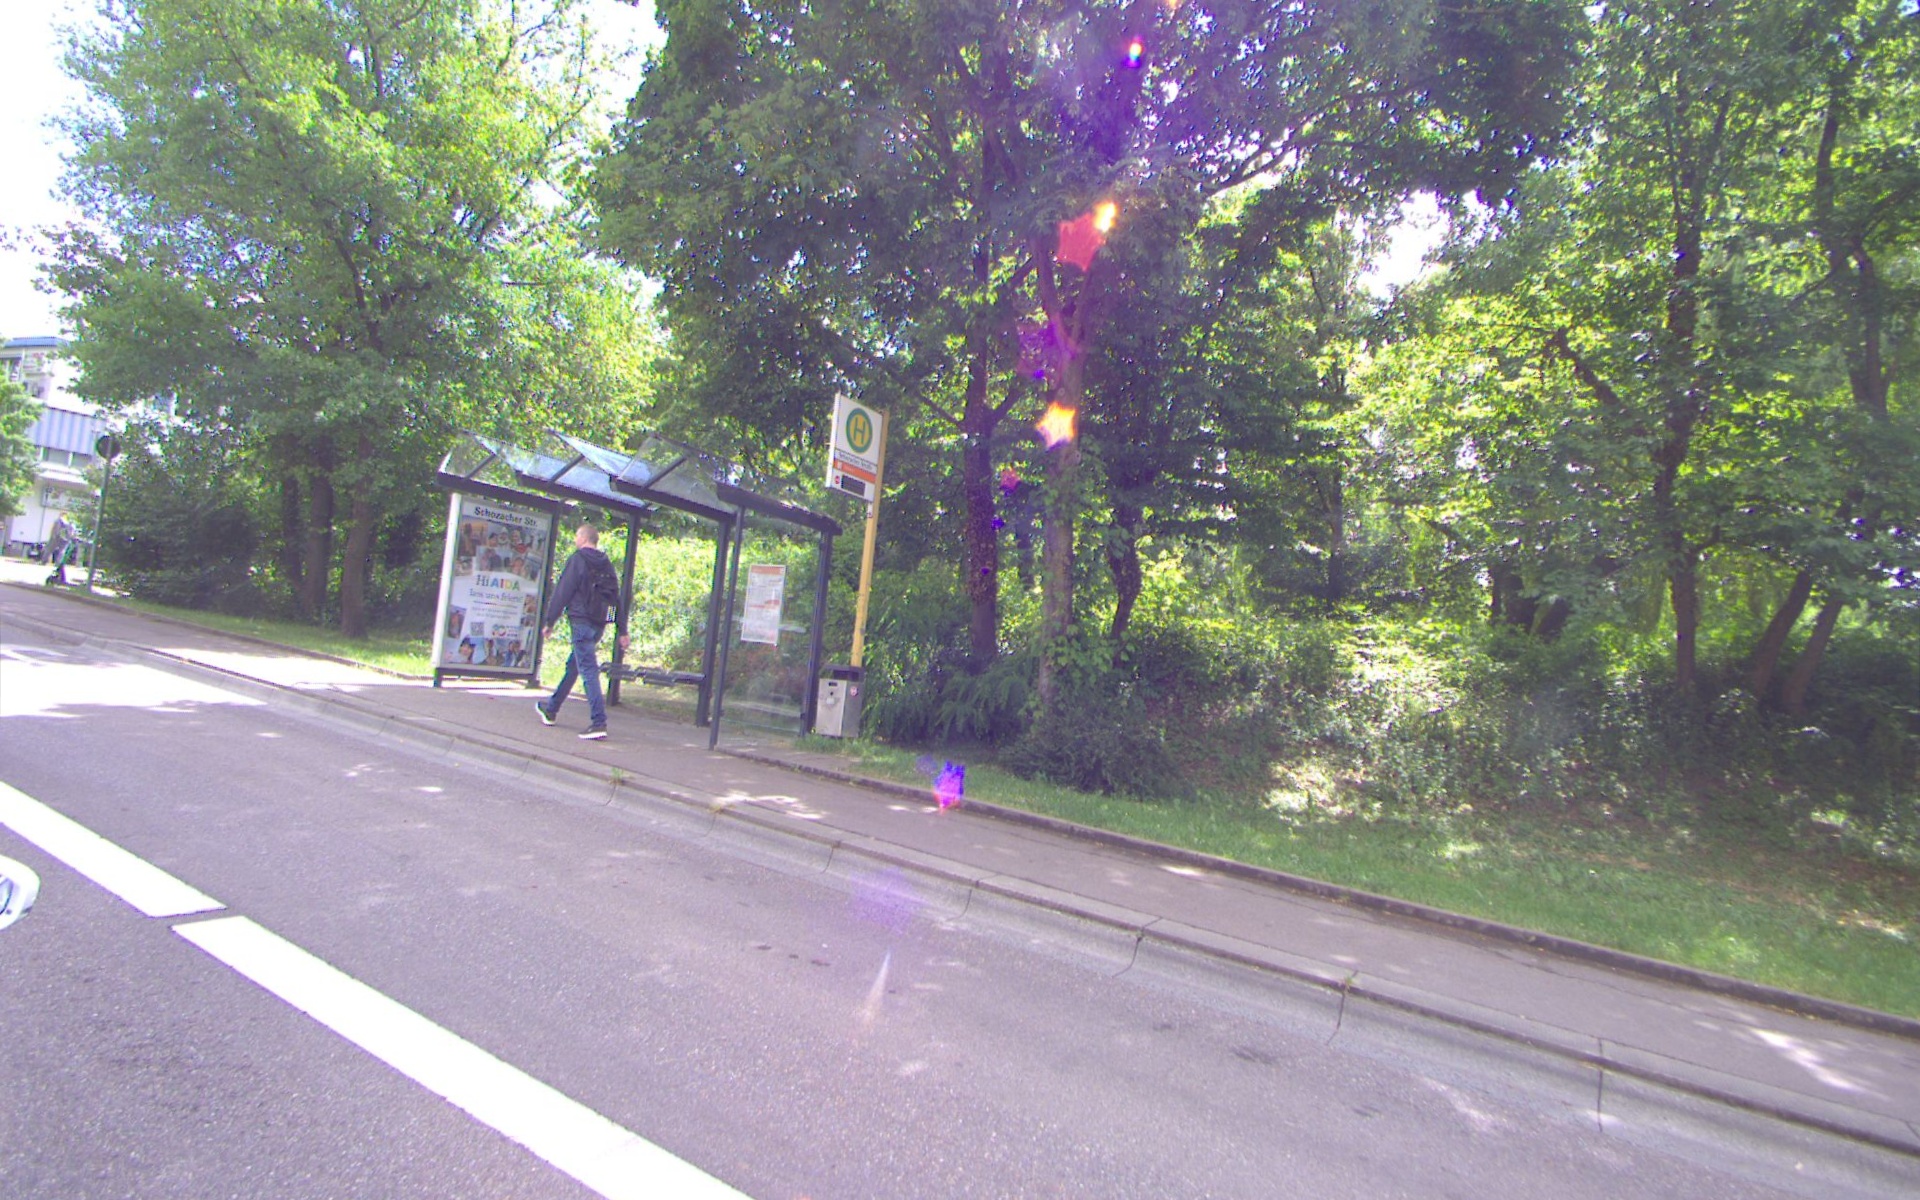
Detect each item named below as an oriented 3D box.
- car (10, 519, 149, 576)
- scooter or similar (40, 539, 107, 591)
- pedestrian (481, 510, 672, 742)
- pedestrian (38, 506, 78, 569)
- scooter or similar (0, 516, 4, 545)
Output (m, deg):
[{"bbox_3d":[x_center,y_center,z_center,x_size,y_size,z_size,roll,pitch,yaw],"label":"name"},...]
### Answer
[{"bbox_3d":[-34.225,-2.021,39.226,1.679,1.619,3.592,6,-2,20],"label":"car"},{"bbox_3d":[-21.012,-0.818,23.861,0.325,1.112,1.153,7,-2,9],"label":"scooter or similar"},{"bbox_3d":[-3.485,0.230,9.150,1.250,1.916,0.803,6,-3,33],"label":"pedestrian"},{"bbox_3d":[-27.401,-1.890,30.572,0.611,1.808,0.562,12,-5,-40],"label":"pedestrian"},{"bbox_3d":[-25.647,-1.642,26.075,0.326,1.273,1.111,7,-1,20],"label":"scooter or similar"}]
